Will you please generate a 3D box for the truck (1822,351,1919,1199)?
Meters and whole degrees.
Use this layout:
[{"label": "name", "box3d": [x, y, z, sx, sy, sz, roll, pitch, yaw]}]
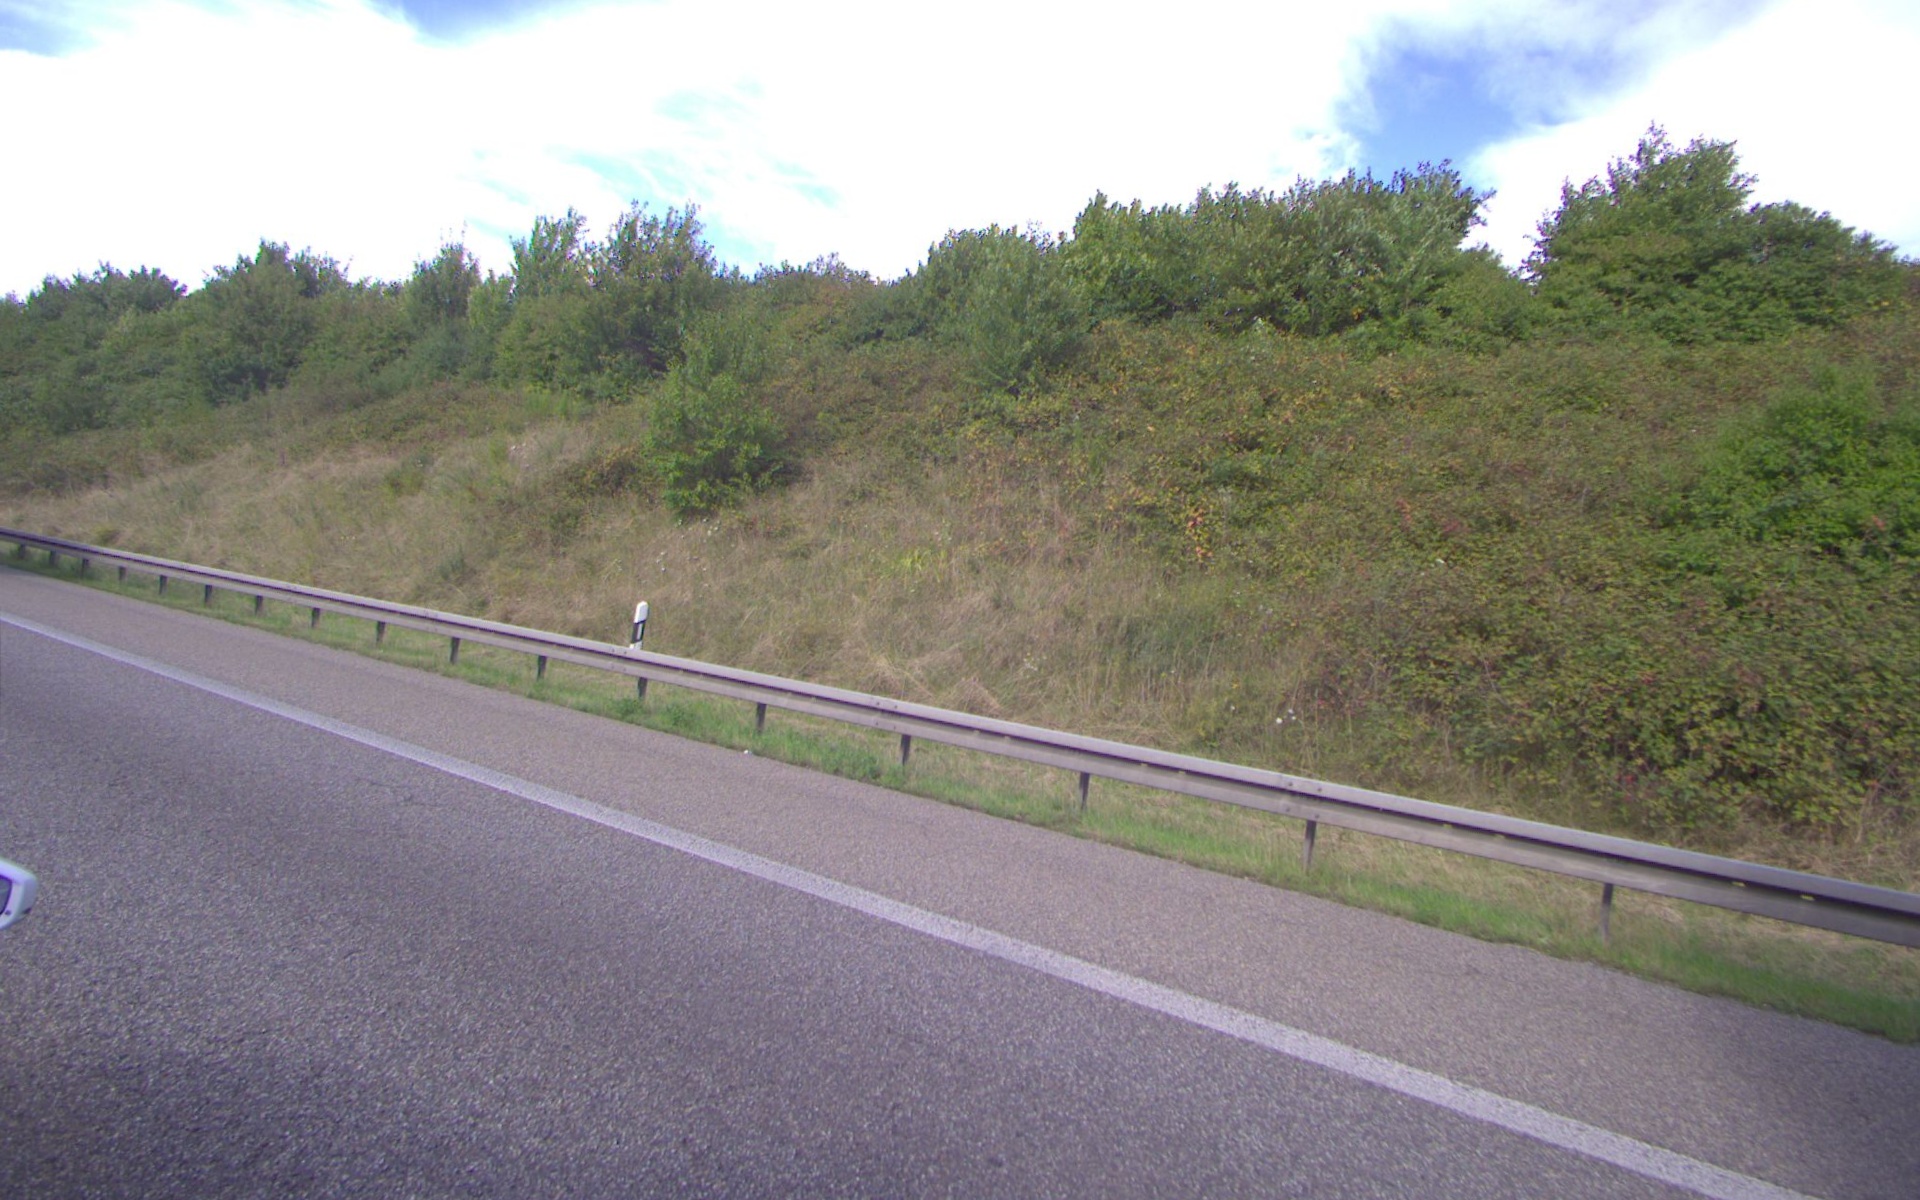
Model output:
[{"label": "truck", "box3d": [5.080, 0.106, 0.915, 5.808, 4.091, 2.806, 7, -1, 33]}]
